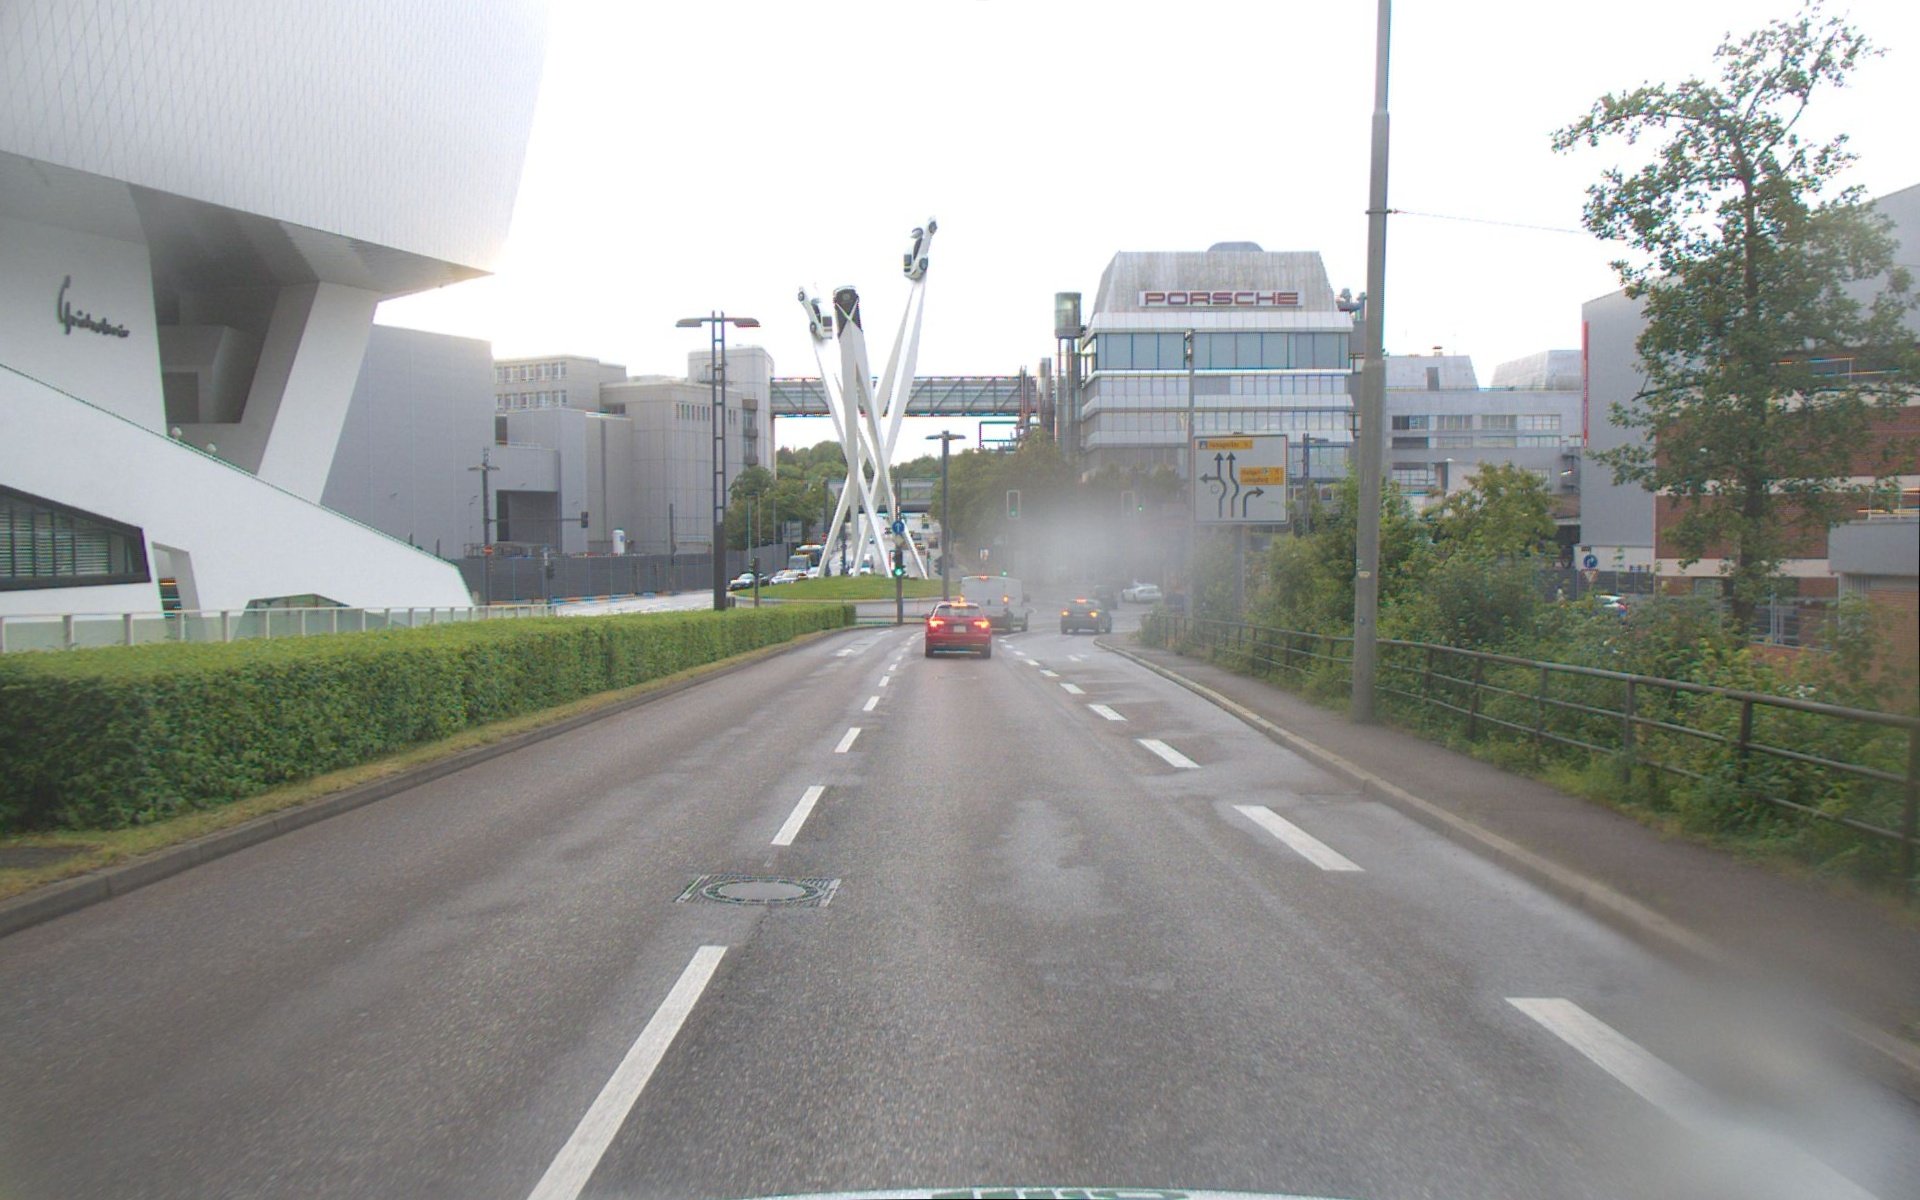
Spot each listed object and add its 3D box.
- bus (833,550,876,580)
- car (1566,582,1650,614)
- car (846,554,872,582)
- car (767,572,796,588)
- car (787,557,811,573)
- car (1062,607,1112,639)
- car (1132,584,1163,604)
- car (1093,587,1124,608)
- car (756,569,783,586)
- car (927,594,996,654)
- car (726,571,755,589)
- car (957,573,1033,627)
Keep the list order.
[{"bbox_3d":[-11.685,-3.925,184.972,2.612,3.256,12.679,0,1,6],"label":"bus"},{"bbox_3d":[35.593,-0.111,90.868,3.910,1.629,1.900,2,2,42],"label":"car"},{"bbox_3d":[-9.160,-2.874,150.585,1.952,2.490,5.428,-1,1,1],"label":"car"},{"bbox_3d":[-15.232,-1.723,141.286,1.807,1.361,4.002,0,1,3],"label":"car"},{"bbox_3d":[-15.633,-3.410,161.163,1.795,1.498,4.514,0,1,1],"label":"car"},{"bbox_3d":[5.363,0.939,69.521,1.576,1.313,3.569,0,0,12],"label":"car"},{"bbox_3d":[12.769,-0.421,112.751,1.633,1.323,3.885,0,0,-1],"label":"car"},{"bbox_3d":[9.527,-0.150,106.168,1.526,1.311,3.412,0,0,-3],"label":"car"},{"bbox_3d":[-17.043,-2.010,148.213,1.795,1.498,4.514,0,1,1],"label":"car"},{"bbox_3d":[0.012,0.606,43.512,1.736,1.490,3.732,0,0,-1],"label":"car"},{"bbox_3d":[-18.700,-1.742,141.160,1.795,1.498,4.514,0,1,1],"label":"car"},{"bbox_3d":[1.502,0.018,68.307,2.185,2.144,4.958,0,0,13],"label":"car"}]
